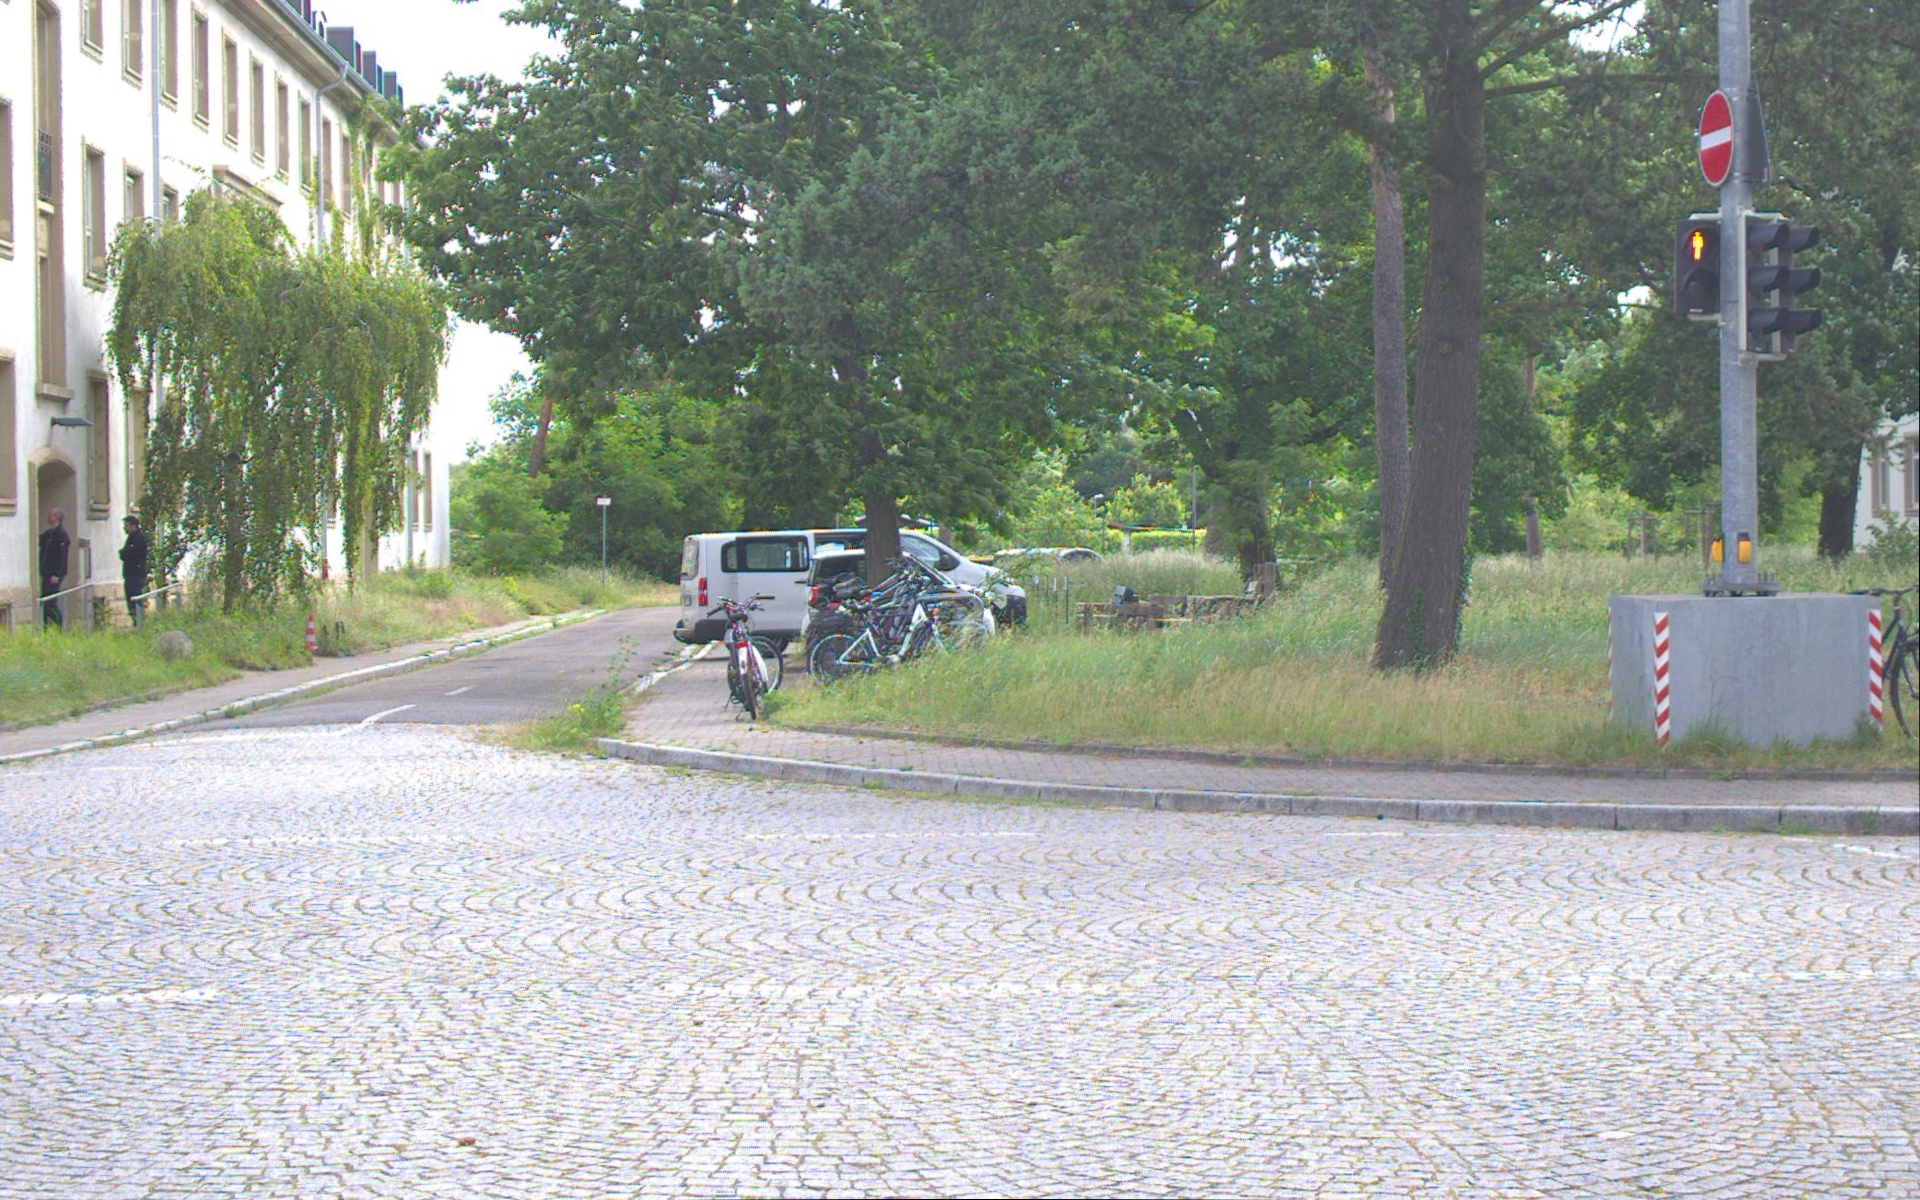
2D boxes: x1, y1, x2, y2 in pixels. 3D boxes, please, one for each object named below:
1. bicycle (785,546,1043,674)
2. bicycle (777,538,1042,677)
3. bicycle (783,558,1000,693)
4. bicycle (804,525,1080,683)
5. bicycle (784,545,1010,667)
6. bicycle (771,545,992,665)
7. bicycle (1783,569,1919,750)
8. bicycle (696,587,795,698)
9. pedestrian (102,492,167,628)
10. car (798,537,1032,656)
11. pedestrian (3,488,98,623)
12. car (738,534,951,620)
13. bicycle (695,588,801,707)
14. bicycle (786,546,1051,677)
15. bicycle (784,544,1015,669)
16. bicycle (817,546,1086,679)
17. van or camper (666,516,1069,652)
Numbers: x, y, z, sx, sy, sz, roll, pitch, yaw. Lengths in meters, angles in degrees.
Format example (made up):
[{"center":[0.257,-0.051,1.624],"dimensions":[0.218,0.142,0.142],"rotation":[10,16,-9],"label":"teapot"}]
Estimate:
[{"center":[-0.517,0.104,37.848],"dimensions":[2.802,1.367,0.951],"rotation":[0,1,-2],"label":"bicycle"},{"center":[-0.518,0.064,34.618],"dimensions":[2.619,1.362,0.874],"rotation":[0,1,-2],"label":"bicycle"},{"center":[-0.685,0.243,34.003],"dimensions":[2.113,1.302,0.874],"rotation":[0,1,-2],"label":"bicycle"},{"center":[-0.204,0.033,35.496],"dimensions":[2.802,1.578,0.951],"rotation":[0,1,-2],"label":"bicycle"},{"center":[-0.743,0.059,39.646],"dimensions":[2.567,1.367,0.951],"rotation":[-1,1,-3],"label":"bicycle"},{"center":[-0.938,0.050,40.479],"dimensions":[2.567,1.367,0.951],"rotation":[-1,1,-3],"label":"bicycle"},{"center":[5.932,0.356,22.082],"dimensions":[0.644,1.059,1.834],"rotation":[-4,1,-5],"label":"bicycle"},{"center":[-2.022,0.390,32.681],"dimensions":[0.727,0.993,1.979],"rotation":[0,1,3],"label":"bicycle"},{"center":[-11.961,-0.578,49.836],"dimensions":[0.865,1.925,0.837],"rotation":[1,0,-13],"label":"pedestrian"},{"center":[-0.670,-0.053,48.615],"dimensions":[3.224,1.615,1.938],"rotation":[1,0,-3],"label":"car"},{"center":[-12.848,-0.625,48.607],"dimensions":[1.194,1.863,1.550],"rotation":[1,0,-12],"label":"pedestrian"},{"center":[-2.236,-0.450,65.916],"dimensions":[3.986,1.594,1.704],"rotation":[-1,1,-4],"label":"car"},{"center":[-1.871,0.407,30.592],"dimensions":[0.900,0.993,1.979],"rotation":[0,1,-3],"label":"bicycle"},{"center":[-0.455,0.112,36.956],"dimensions":[2.802,1.367,0.951],"rotation":[0,1,-2],"label":"bicycle"},{"center":[-0.699,0.066,38.806],"dimensions":[2.567,1.367,0.951],"rotation":[-1,1,-3],"label":"bicycle"},{"center":[-0.108,0.121,36.431],"dimensions":[2.802,1.367,0.951],"rotation":[0,1,-2],"label":"bicycle"},{"center":[-1.428,-0.267,52.102],"dimensions":[5.740,1.950,2.238],"rotation":[-1,1,-14],"label":"van or camper"}]
